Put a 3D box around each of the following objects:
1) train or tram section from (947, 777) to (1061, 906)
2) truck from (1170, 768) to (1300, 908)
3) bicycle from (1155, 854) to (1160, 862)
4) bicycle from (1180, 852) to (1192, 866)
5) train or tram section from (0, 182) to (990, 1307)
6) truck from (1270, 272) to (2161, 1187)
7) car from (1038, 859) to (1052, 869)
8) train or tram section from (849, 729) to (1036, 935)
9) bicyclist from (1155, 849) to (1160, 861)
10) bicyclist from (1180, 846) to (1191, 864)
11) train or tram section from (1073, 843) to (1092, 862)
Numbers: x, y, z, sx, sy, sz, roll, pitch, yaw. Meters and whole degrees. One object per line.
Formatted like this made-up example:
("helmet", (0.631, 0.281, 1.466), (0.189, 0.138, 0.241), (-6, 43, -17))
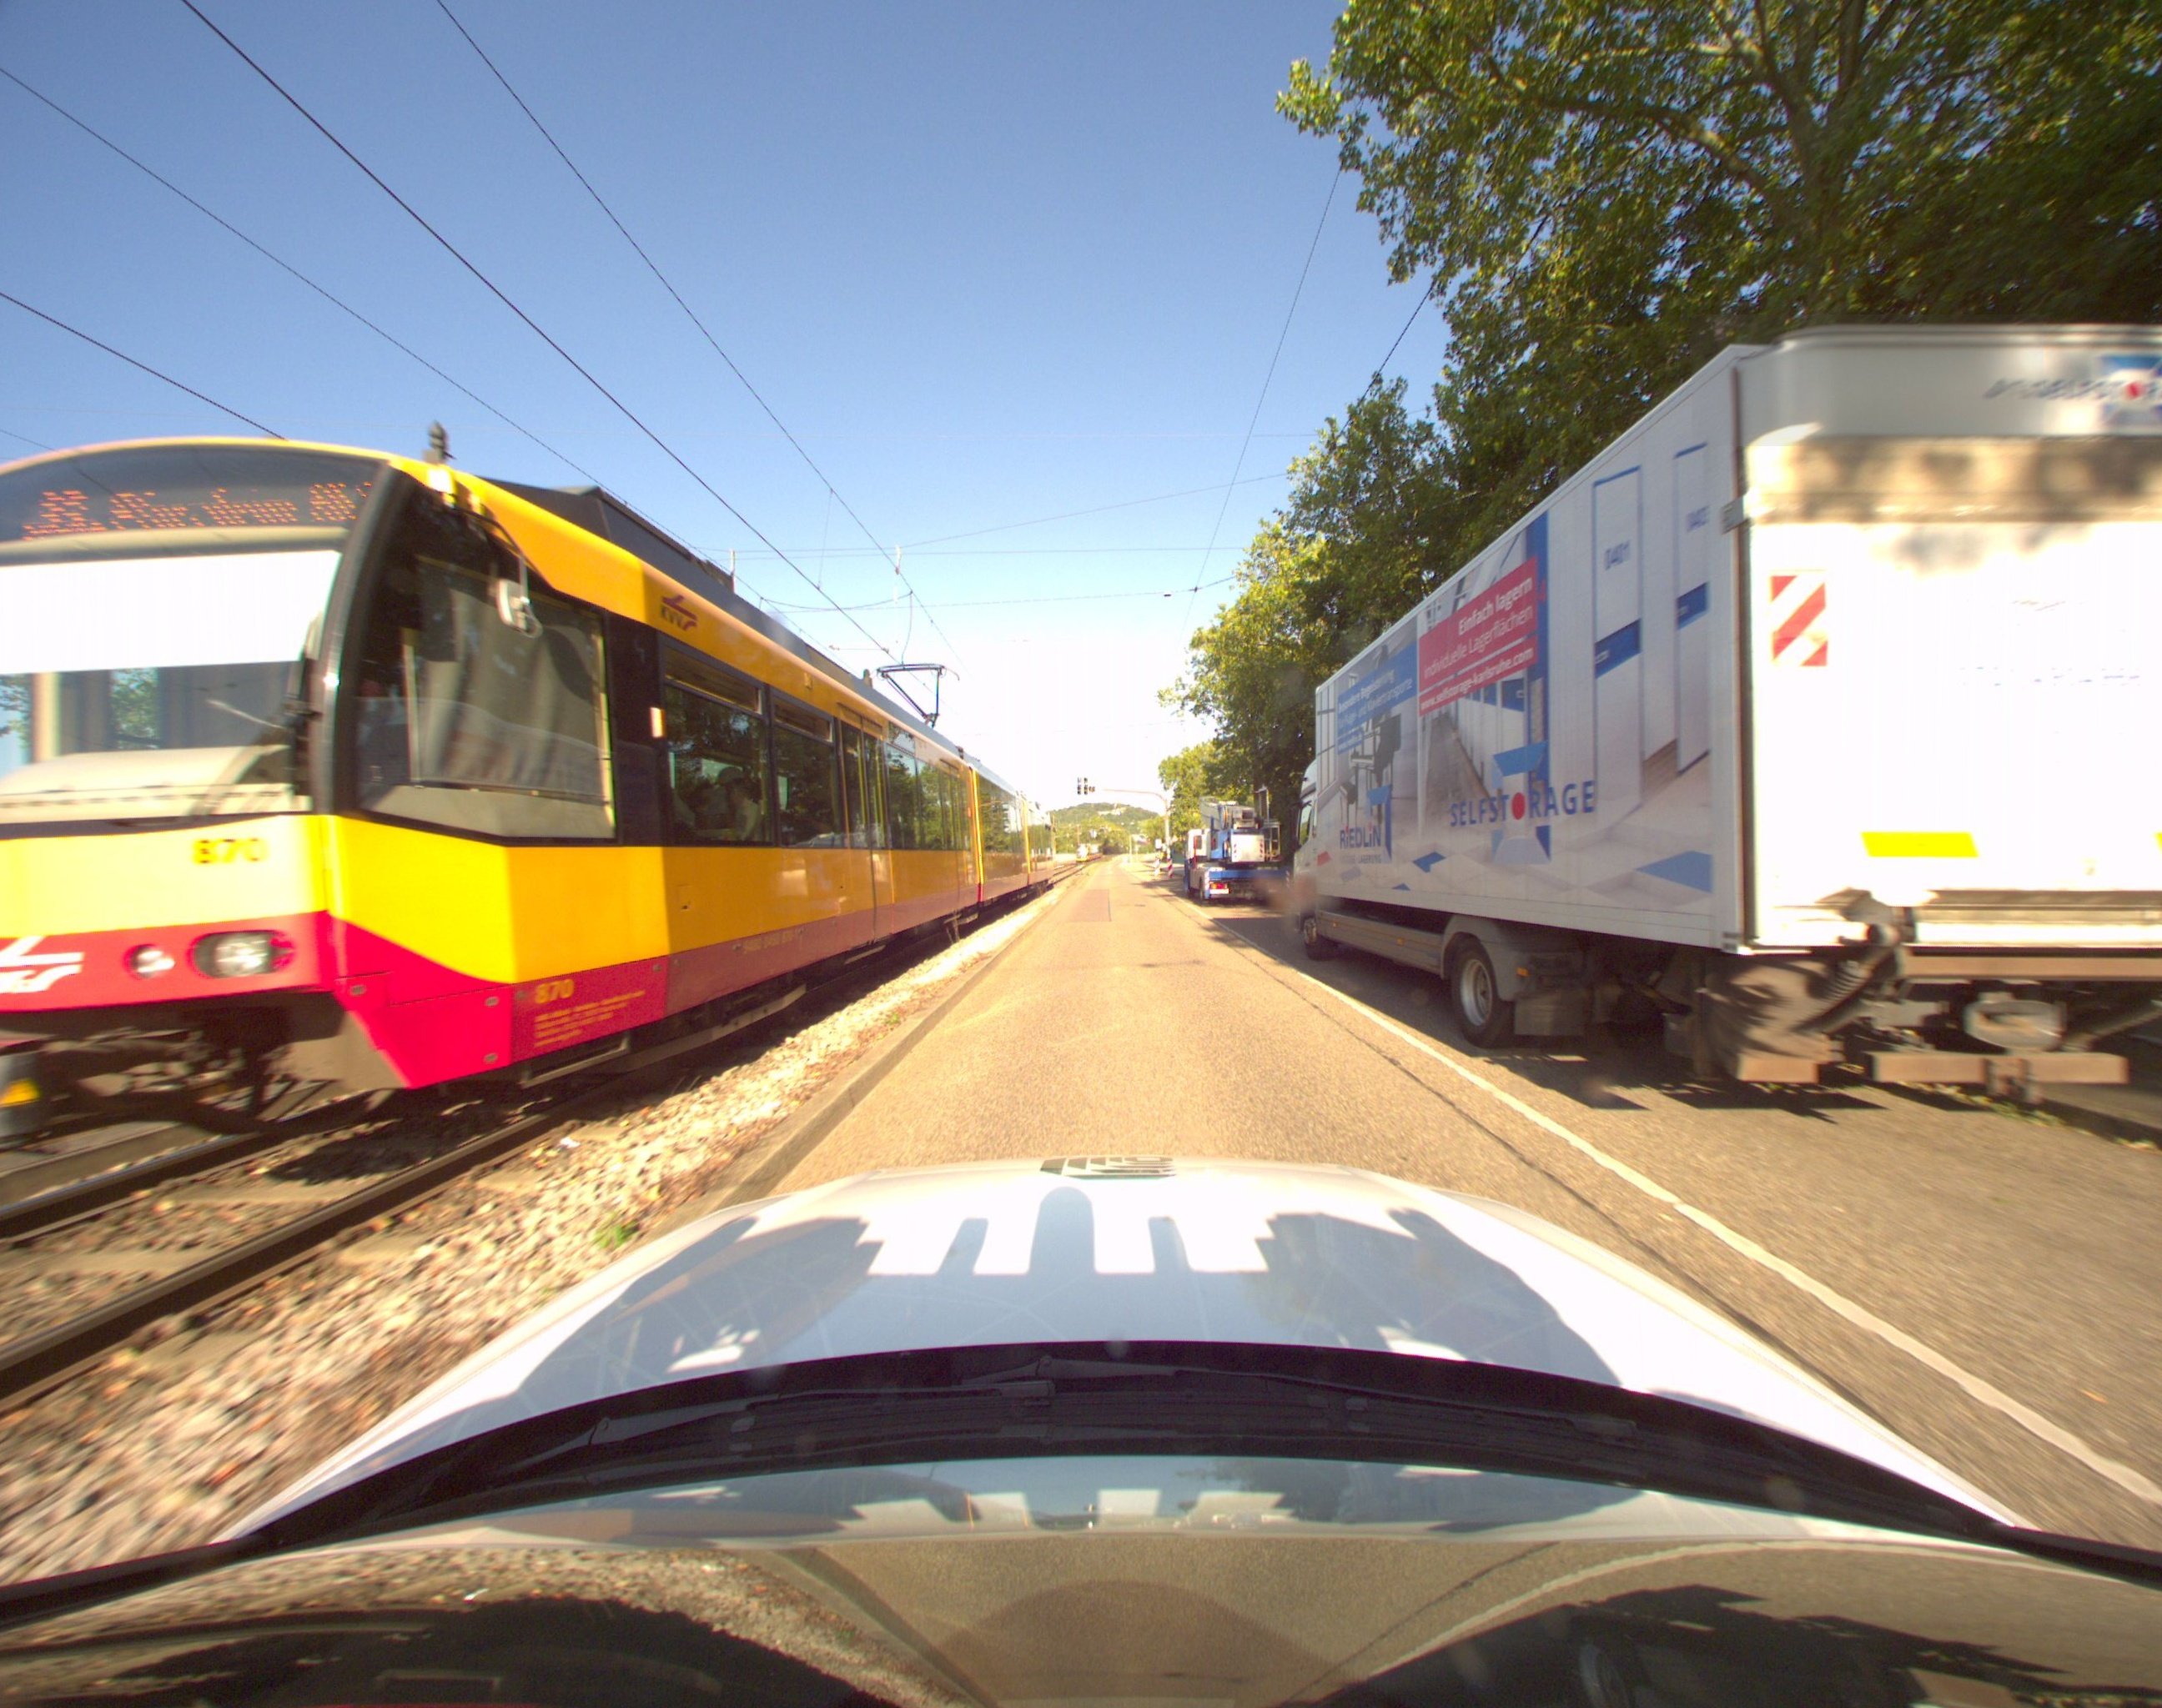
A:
("train or tram section", (-2.664, -0.388, 32.897), (2.709, 4.089, 12.819), (-3, 0, 2))
("truck", (4.830, -0.433, 27.553), (2.707, 3.783, 9.765), (-2, 0, 2))
("bicycle", (9.598, 0.517, 101.980), (0.513, 1.042, 1.976), (-2, 0, 2))
("bicycle", (9.204, 0.463, 71.400), (0.725, 1.176, 2.696), (-2, 0, 2))
("train or tram section", (-3.590, -0.365, 9.830), (2.711, 4.091, 13.623), (-3, 0, 2))
("truck", (4.344, -0.508, 8.412), (2.731, 3.783, 10.093), (0, 0, 2))
("car", (-5.593, 1.579, 127.175), (1.760, 1.413, 4.915), (-3, 0, 2))
("train or tram section", (-3.111, -0.436, 21.565), (2.684, 4.089, 9.915), (-3, 0, 2))
("bicyclist", (9.583, 0.123, 101.974), (0.602, 1.379, 0.976), (-2, 0, 2))
("bicyclist", (9.190, 0.084, 71.506), (0.821, 1.520, 0.976), (-2, 0, 2))
("train or tram section", (0.404, -0.265, 167.245), (2.631, 3.567, 10.849), (-3, 0, 6))
